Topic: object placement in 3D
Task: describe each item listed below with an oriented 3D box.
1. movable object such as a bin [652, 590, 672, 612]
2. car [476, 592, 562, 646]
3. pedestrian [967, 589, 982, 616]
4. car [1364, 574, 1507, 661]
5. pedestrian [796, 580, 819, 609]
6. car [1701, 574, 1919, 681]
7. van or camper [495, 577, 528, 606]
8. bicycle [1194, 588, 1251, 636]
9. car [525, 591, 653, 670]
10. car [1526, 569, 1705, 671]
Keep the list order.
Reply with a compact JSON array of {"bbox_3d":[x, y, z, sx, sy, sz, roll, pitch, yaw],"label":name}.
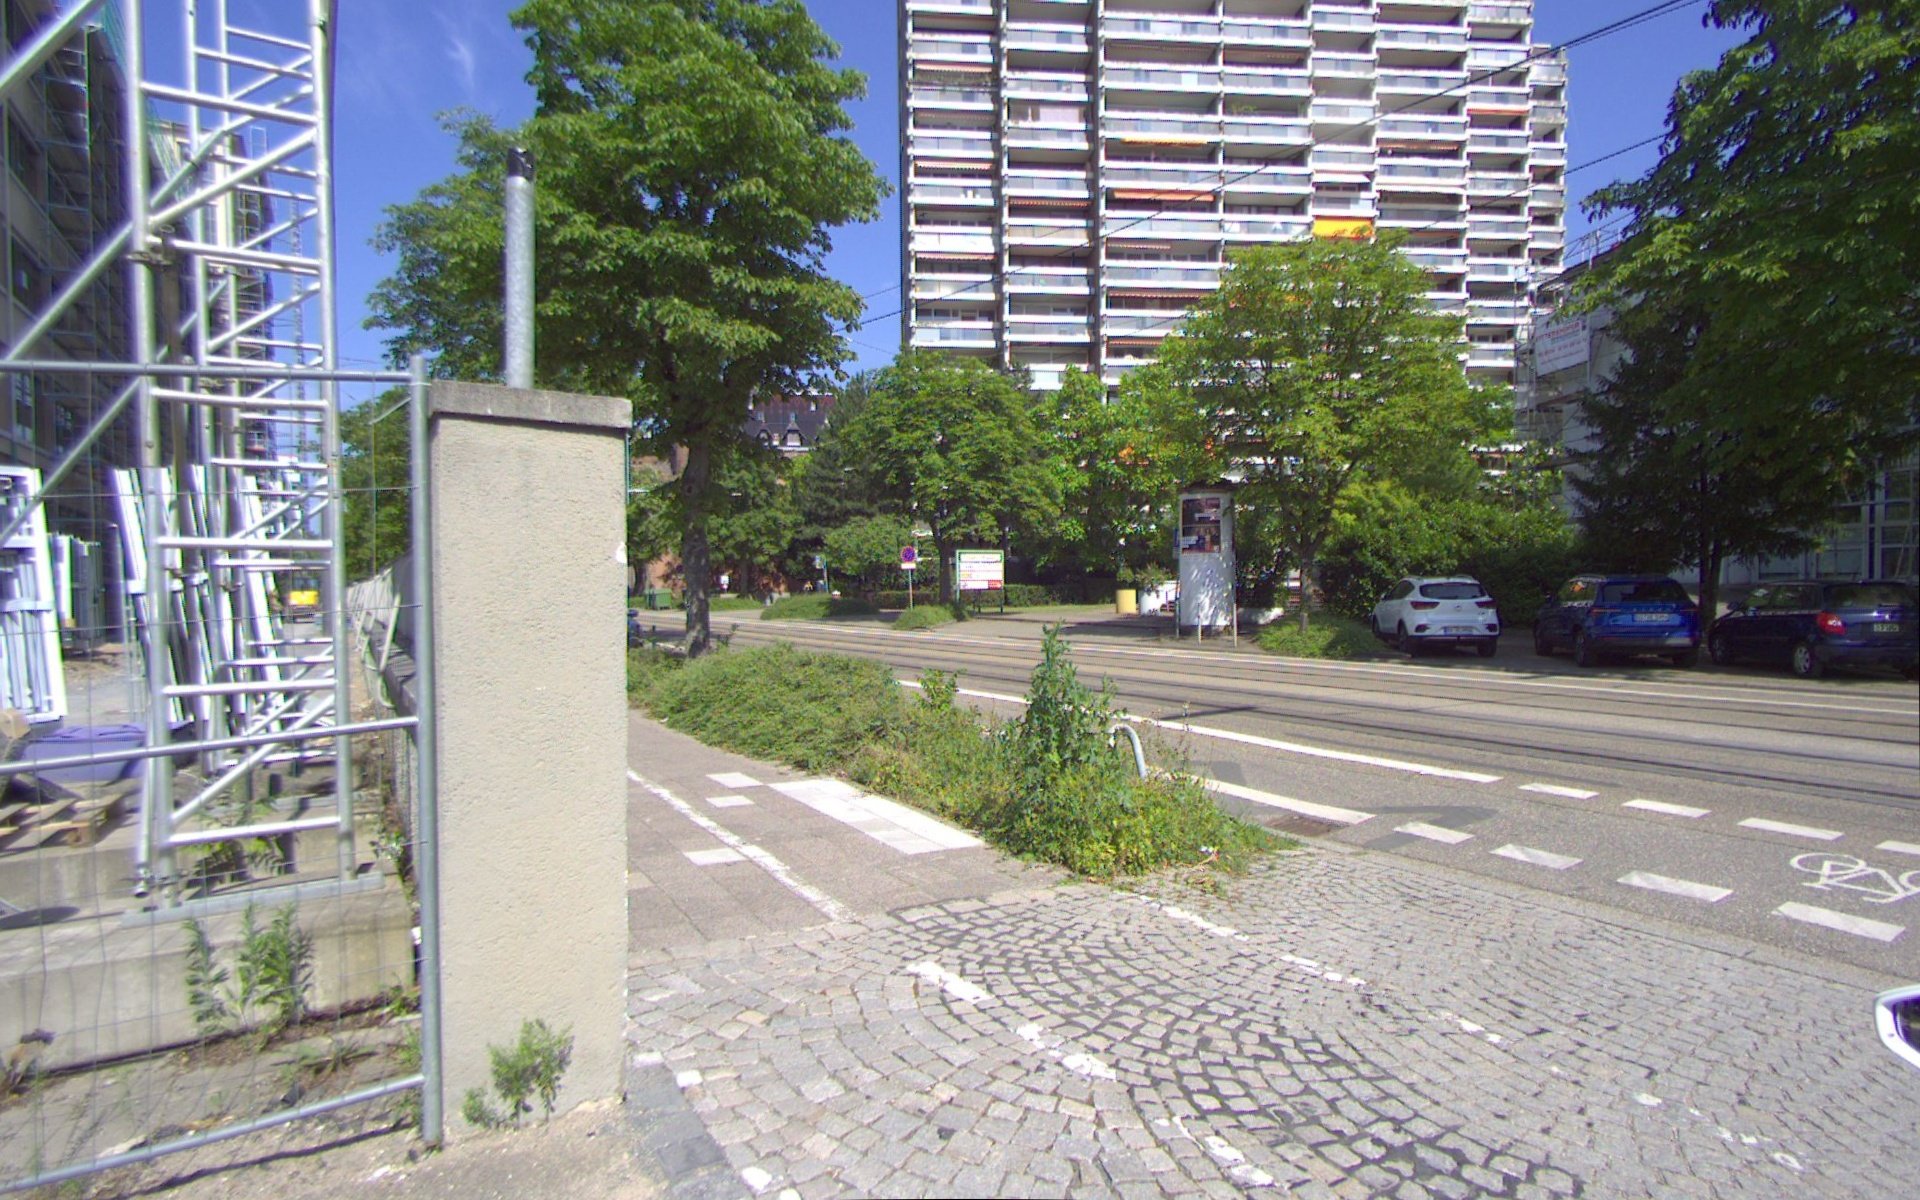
[{"bbox_3d":[-21.031,0.070,70.873,1.249,1.473,1.072,0,1,-27],"label":"movable object such as a bin"},{"bbox_3d":[-13.236,0.518,30.032,1.801,1.473,3.965,-1,1,-32],"label":"car"},{"bbox_3d":[0.625,0.092,44.587,0.525,1.170,0.700,-1,1,-10],"label":"pedestrian"},{"bbox_3d":[10.082,0.321,21.627,1.783,1.628,3.947,-2,1,10],"label":"car"},{"bbox_3d":[-9.451,-0.340,62.253,1.047,1.822,1.255,1,1,-28],"label":"pedestrian"},{"bbox_3d":[13.736,0.372,16.220,1.544,1.551,3.460,0,1,12],"label":"car"},{"bbox_3d":[-43.278,-0.842,96.892,2.028,2.655,5.808,-1,1,-33],"label":"van or camper"},{"bbox_3d":[7.542,0.328,28.915,0.542,1.326,1.604,-1,1,-37],"label":"bicycle"},{"bbox_3d":[-8.126,0.584,21.772,1.801,1.514,4.071,-1,1,-32],"label":"car"},{"bbox_3d":[12.100,0.292,18.830,1.745,1.644,3.945,-1,2,17],"label":"car"}]
